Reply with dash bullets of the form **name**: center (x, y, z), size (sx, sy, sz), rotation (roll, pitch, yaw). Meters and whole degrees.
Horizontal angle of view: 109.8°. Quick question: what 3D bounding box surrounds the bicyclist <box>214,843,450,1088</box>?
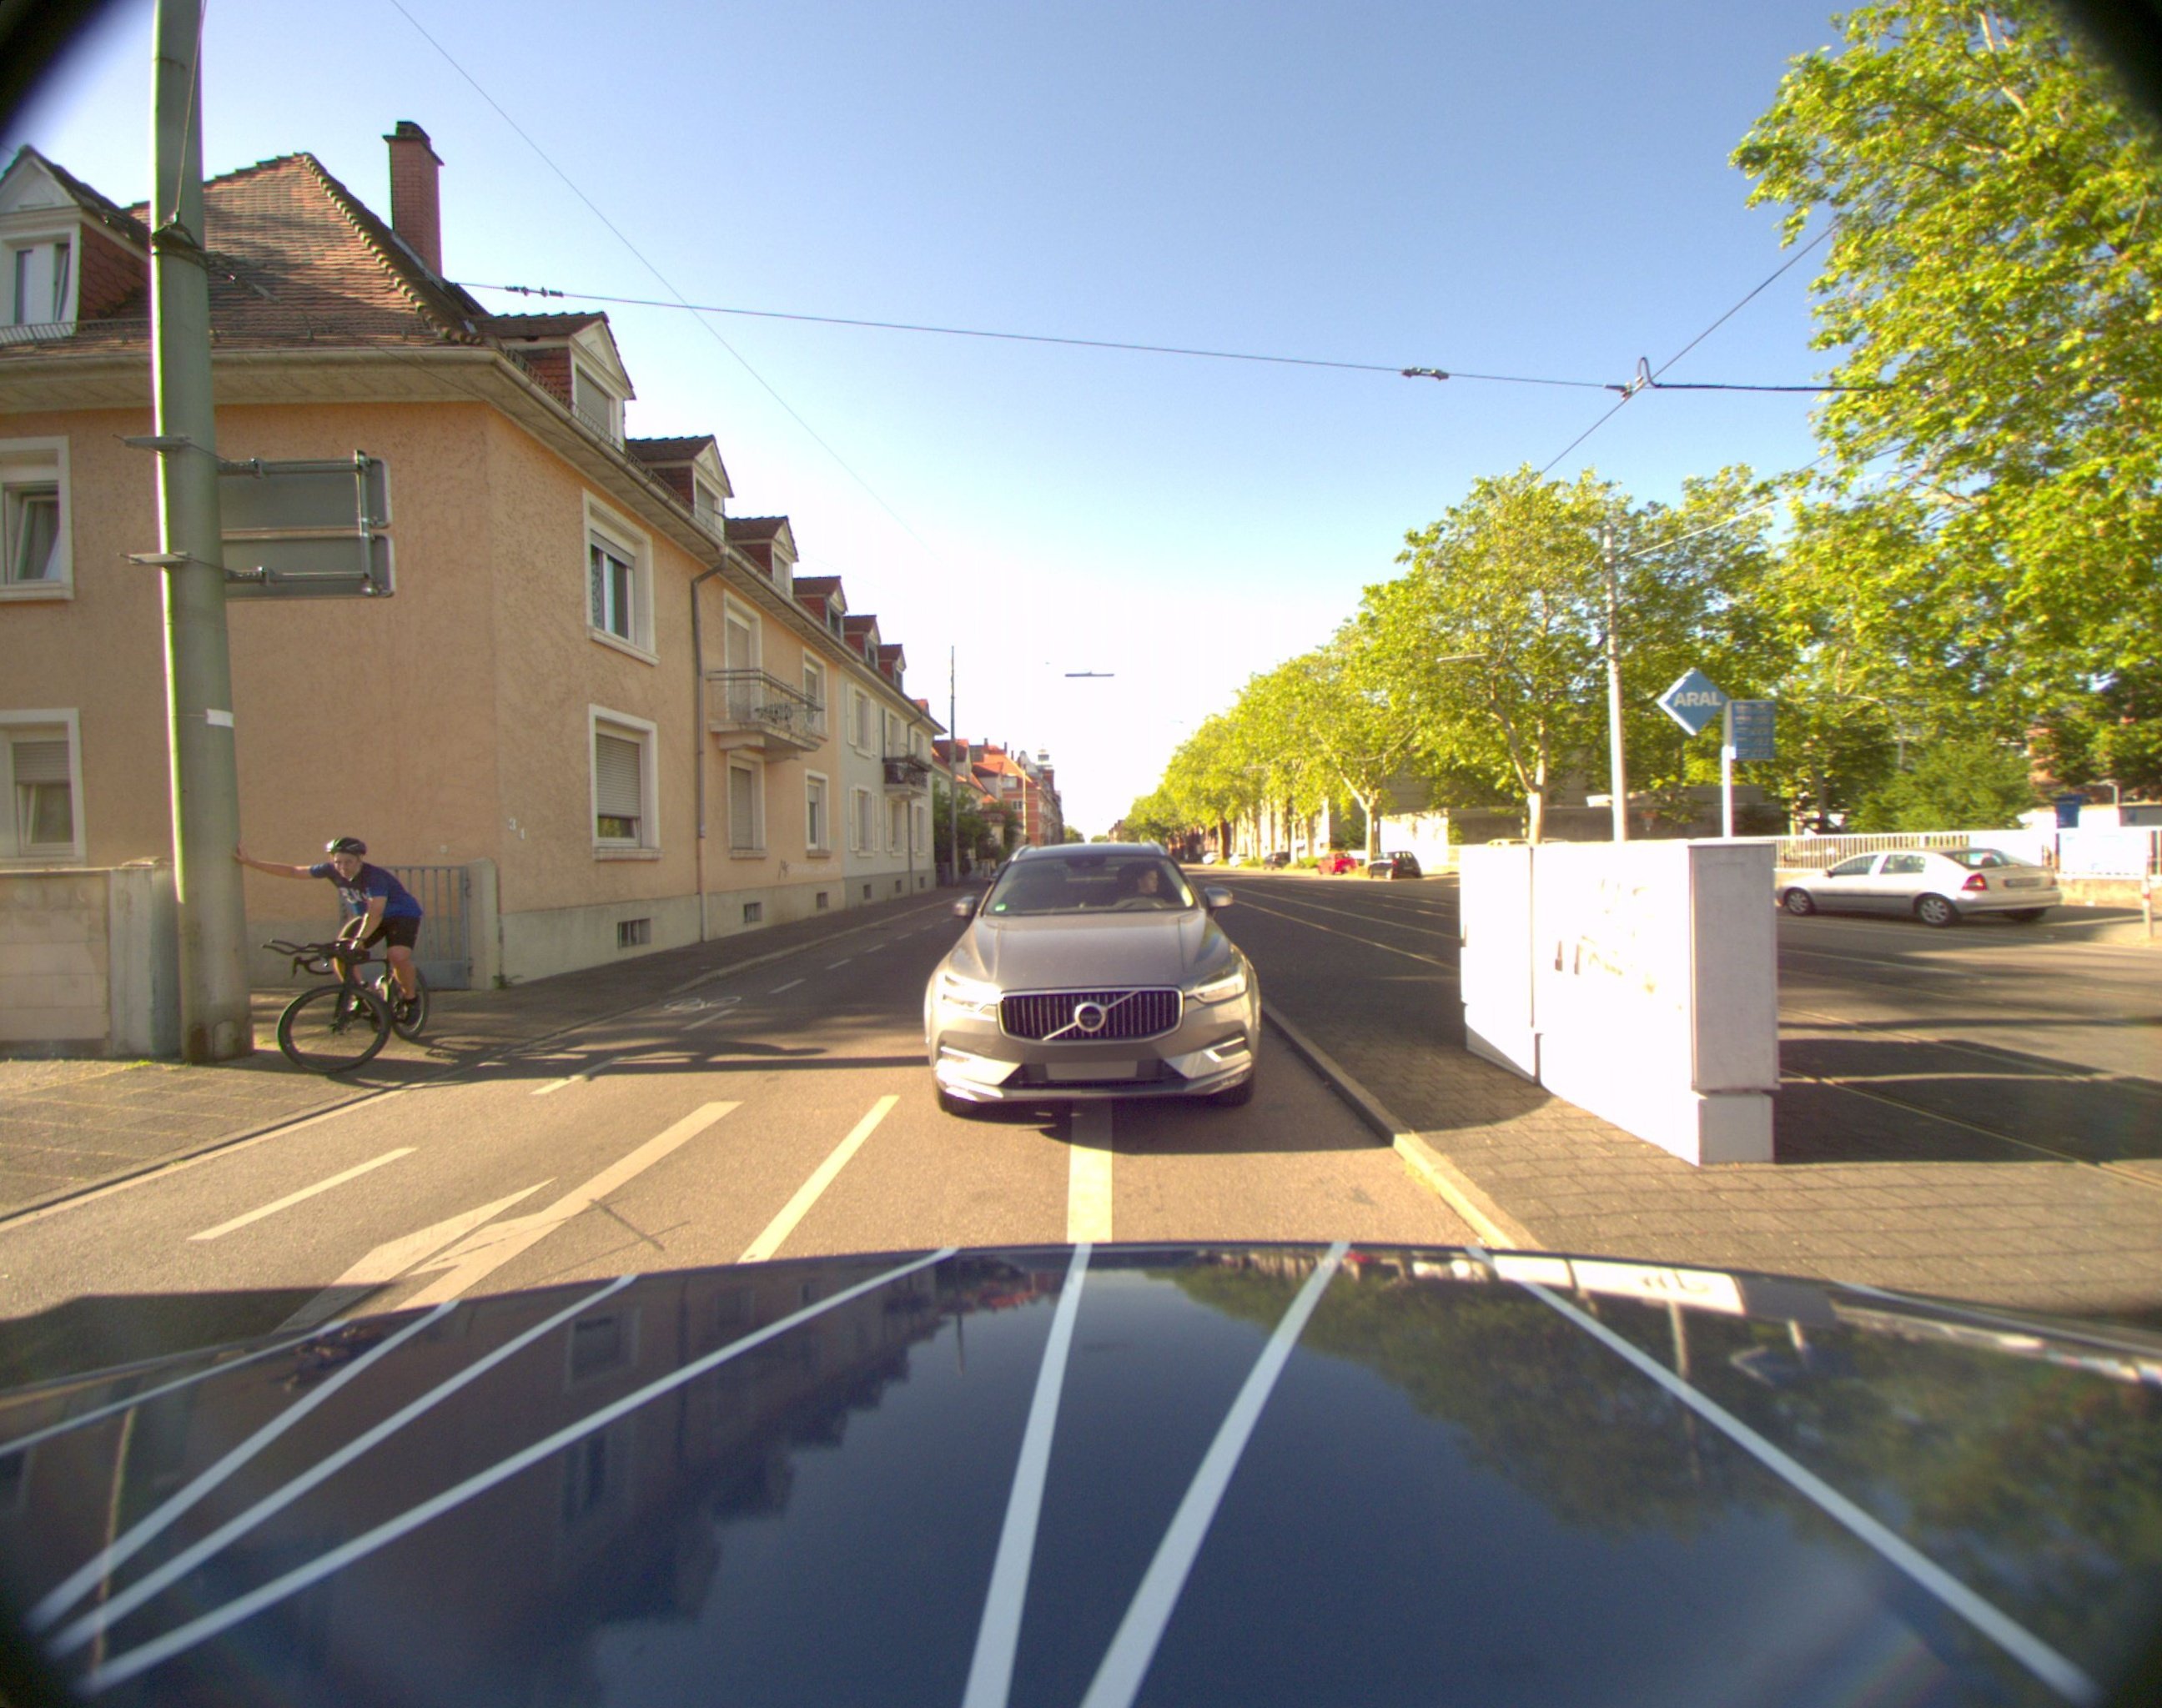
- **bicyclist**: center (-6.142, 0.865, 6.295), size (1.076, 1.854, 0.846), rotation (2, 1, 1)

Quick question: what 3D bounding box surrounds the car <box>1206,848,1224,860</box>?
- **car**: center (17.736, -0.007, 100.676), size (1.802, 1.504, 4.000), rotation (-1, 0, 1)

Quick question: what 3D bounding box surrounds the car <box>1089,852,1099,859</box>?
- **car**: center (2.838, 0.359, 165.591), size (1.998, 1.543, 4.000), rotation (-1, 0, 1)

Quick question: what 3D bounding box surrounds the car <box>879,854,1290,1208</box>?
- **car**: center (0.047, 0.853, 5.806), size (1.940, 1.650, 4.321), rotation (-1, 0, 1)

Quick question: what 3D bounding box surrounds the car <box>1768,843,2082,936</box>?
- **car**: center (16.250, 0.598, 14.996), size (1.795, 1.455, 3.966), rotation (-4, 0, 2)

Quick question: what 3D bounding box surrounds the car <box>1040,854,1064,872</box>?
- **car**: center (-2.557, 0.772, 66.834), size (1.875, 1.477, 4.000), rotation (-1, 0, 1)

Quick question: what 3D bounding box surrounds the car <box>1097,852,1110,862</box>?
- **car**: center (3.403, 0.475, 116.212), size (1.998, 1.543, 4.000), rotation (-1, 0, 1)

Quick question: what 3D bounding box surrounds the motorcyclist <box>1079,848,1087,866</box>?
- **motorcyclist**: center (0.220, 0.257, 79.372), size (0.827, 1.832, 1.159), rotation (-2, 1, 1)

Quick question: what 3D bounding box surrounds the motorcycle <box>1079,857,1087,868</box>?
- **motorcycle**: center (0.250, 0.877, 79.292), size (0.792, 1.095, 2.519), rotation (0, 0, 1)

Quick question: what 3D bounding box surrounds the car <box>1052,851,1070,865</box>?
- **car**: center (-2.200, 0.455, 85.496), size (1.875, 1.477, 4.000), rotation (-1, 0, 1)

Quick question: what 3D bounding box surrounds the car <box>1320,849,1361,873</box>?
- **car**: center (16.947, 0.437, 49.755), size (1.641, 1.499, 3.046), rotation (-1, 0, 1)

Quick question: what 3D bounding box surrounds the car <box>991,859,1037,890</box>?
- **car**: center (-3.206, 0.968, 37.030), size (1.647, 1.357, 3.868), rotation (-1, 0, 4)

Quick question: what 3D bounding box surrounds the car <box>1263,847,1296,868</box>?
- **car**: center (17.199, 0.289, 66.046), size (1.802, 1.652, 4.000), rotation (-1, 0, 1)

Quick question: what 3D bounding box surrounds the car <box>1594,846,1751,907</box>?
- **car**: center (16.436, 0.576, 21.345), size (1.692, 1.455, 3.519), rotation (-4, 0, 2)

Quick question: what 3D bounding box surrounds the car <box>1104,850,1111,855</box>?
- **car**: center (8.375, -0.404, 240.531), size (1.998, 1.652, 4.000), rotation (-1, 0, 1)

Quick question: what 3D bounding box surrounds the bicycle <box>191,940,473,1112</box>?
- **bicycle**: center (-5.937, 1.305, 6.180), size (0.572, 0.986, 1.698), rotation (2, 0, 1)

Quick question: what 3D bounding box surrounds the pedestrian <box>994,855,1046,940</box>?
- **pedestrian**: center (-1.281, 0.871, 15.773), size (0.696, 1.652, 1.096), rotation (-3, 1, -23)

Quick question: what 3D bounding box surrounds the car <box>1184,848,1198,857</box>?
- **car**: center (18.198, -0.216, 125.634), size (1.802, 1.504, 4.000), rotation (-1, 0, 1)

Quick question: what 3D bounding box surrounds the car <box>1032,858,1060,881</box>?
- **car**: center (-2.462, 1.089, 54.444), size (1.785, 1.468, 4.000), rotation (-1, 0, 1)

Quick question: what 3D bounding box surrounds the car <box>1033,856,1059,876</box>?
- **car**: center (-2.747, 0.950, 60.680), size (1.785, 1.468, 4.000), rotation (-1, 0, 1)

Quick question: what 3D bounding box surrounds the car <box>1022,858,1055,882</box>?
- **car**: center (-2.679, 0.995, 48.308), size (1.785, 1.346, 4.000), rotation (-1, 0, 1)

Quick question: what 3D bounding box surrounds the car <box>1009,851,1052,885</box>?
- **car**: center (-2.784, 0.720, 42.890), size (1.751, 1.767, 5.351), rotation (-1, 0, 3)

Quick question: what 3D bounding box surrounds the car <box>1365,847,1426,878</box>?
- **car**: center (16.887, 0.424, 40.985), size (1.826, 1.521, 3.653), rotation (-2, 0, 1)

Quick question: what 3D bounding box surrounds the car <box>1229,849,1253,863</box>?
- **car**: center (17.549, 0.224, 83.432), size (1.802, 1.489, 4.000), rotation (-1, 0, 1)
